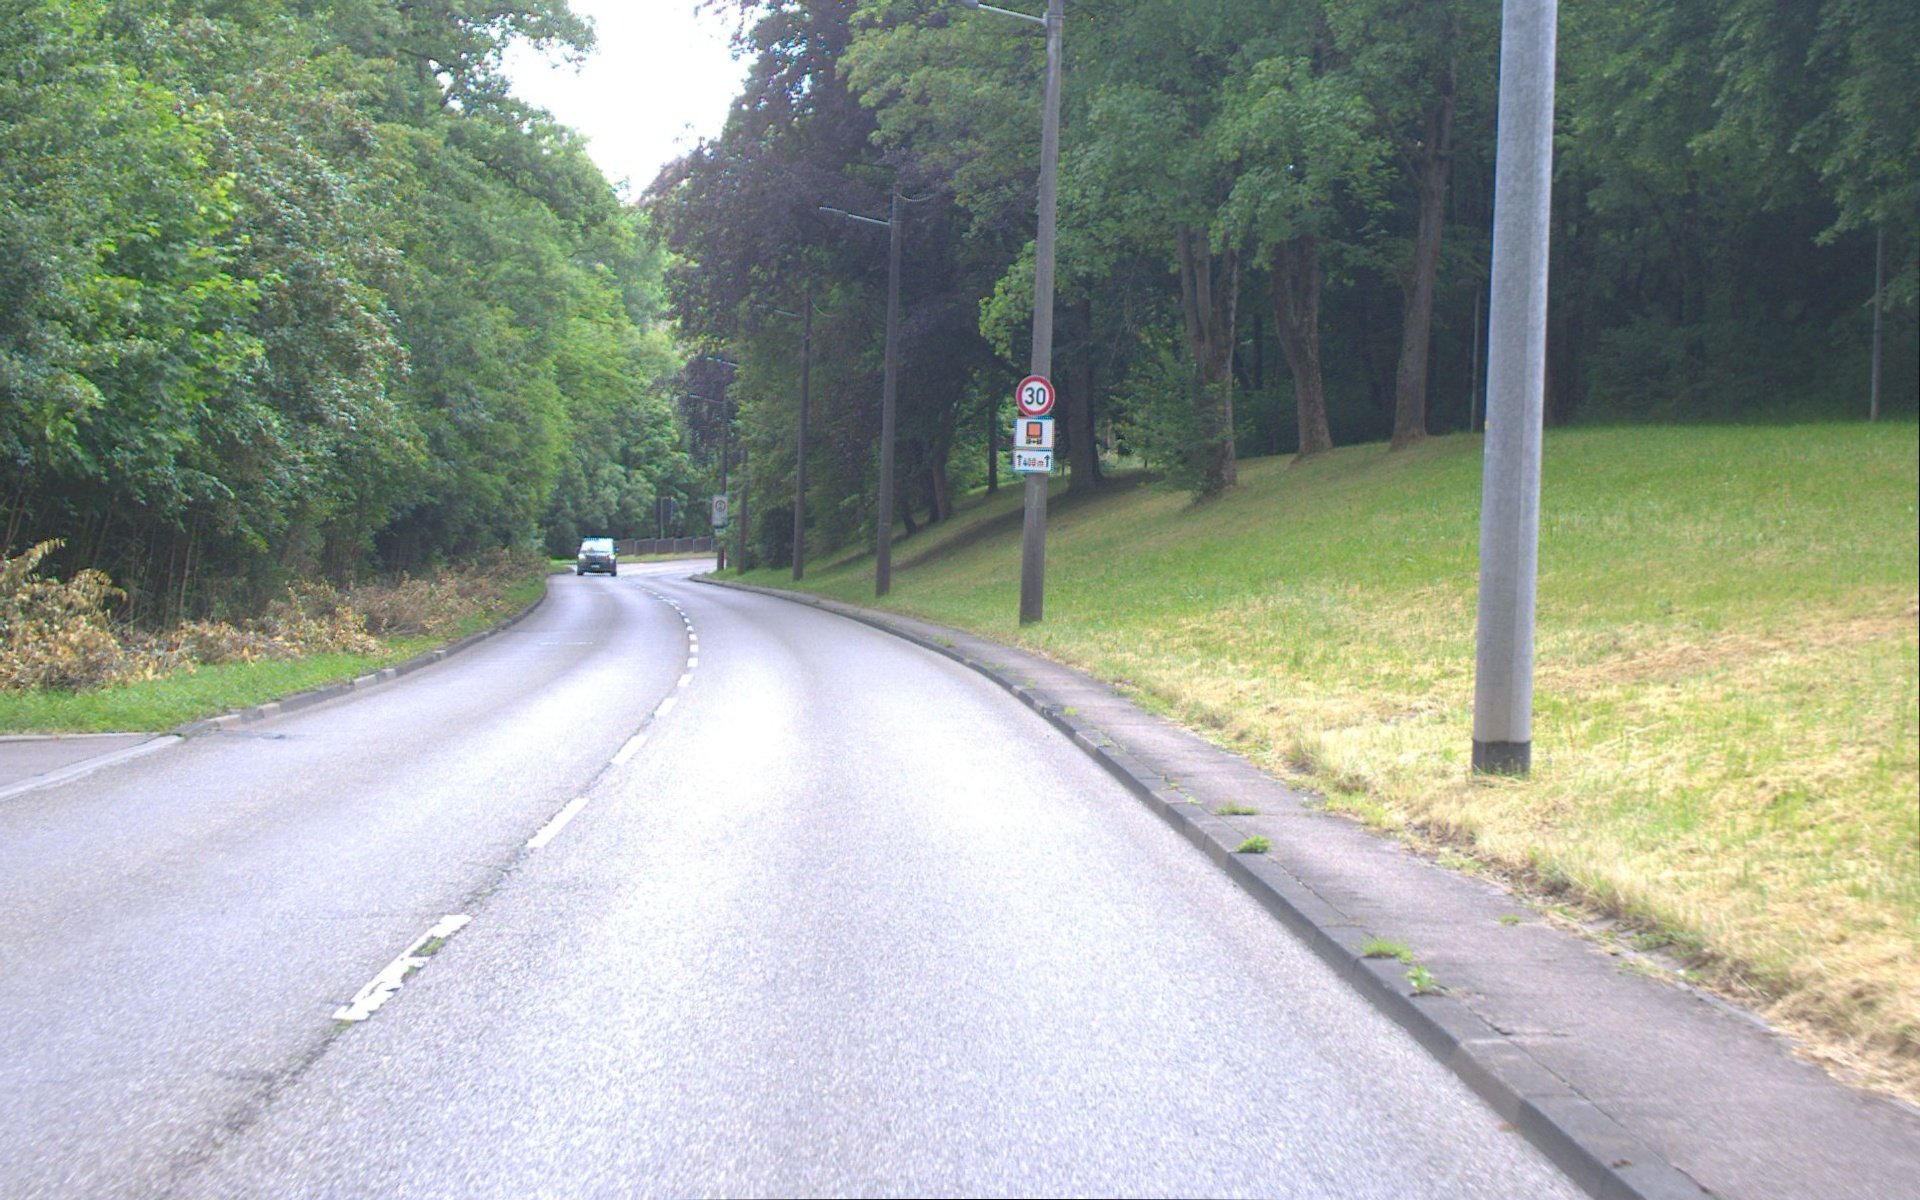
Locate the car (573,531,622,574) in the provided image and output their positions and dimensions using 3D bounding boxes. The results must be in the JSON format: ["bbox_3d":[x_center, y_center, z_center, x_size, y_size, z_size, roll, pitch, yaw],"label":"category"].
[{"bbox_3d":[-18.079,-2.352,171.504,1.993,2.007,4.000,3,0,-1],"label":"car"}]
